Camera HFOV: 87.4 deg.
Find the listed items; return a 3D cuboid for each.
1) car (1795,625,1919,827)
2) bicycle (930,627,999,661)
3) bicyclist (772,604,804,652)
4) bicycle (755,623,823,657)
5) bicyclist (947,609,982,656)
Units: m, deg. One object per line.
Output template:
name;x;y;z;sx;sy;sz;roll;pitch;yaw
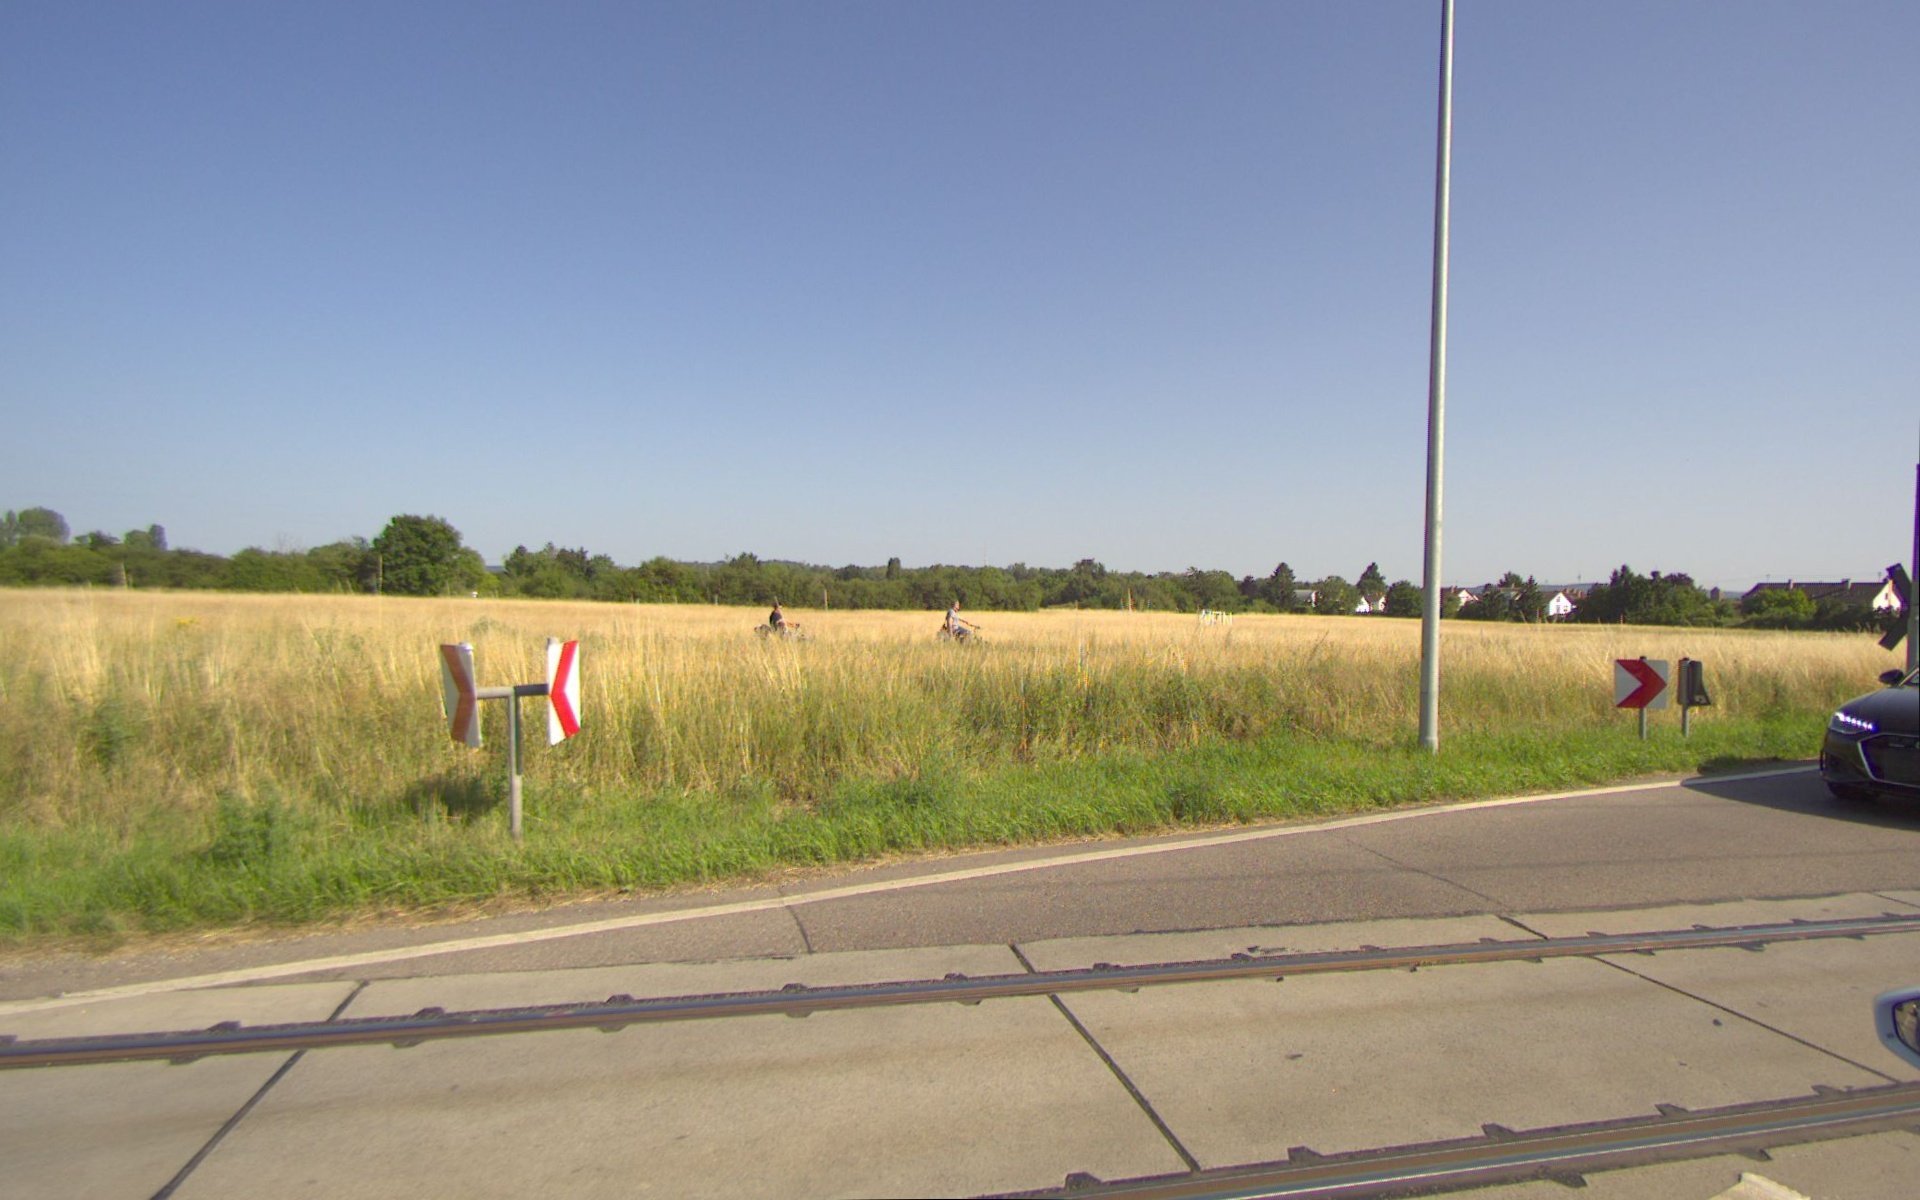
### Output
car;8.991;0.980;8.345;4.230;1.459;1.686;1;1;-29
bicycle;0.117;1.179;27.000;1.706;0.850;0.750;1;1;-13
bicyclist;-4.521;0.731;26.336;0.776;1.221;0.603;1;1;-14
bicycle;-4.495;1.038;26.344;1.706;0.850;0.613;1;0;-13
bicyclist;0.111;0.857;26.993;0.776;1.221;0.746;1;0;-14
